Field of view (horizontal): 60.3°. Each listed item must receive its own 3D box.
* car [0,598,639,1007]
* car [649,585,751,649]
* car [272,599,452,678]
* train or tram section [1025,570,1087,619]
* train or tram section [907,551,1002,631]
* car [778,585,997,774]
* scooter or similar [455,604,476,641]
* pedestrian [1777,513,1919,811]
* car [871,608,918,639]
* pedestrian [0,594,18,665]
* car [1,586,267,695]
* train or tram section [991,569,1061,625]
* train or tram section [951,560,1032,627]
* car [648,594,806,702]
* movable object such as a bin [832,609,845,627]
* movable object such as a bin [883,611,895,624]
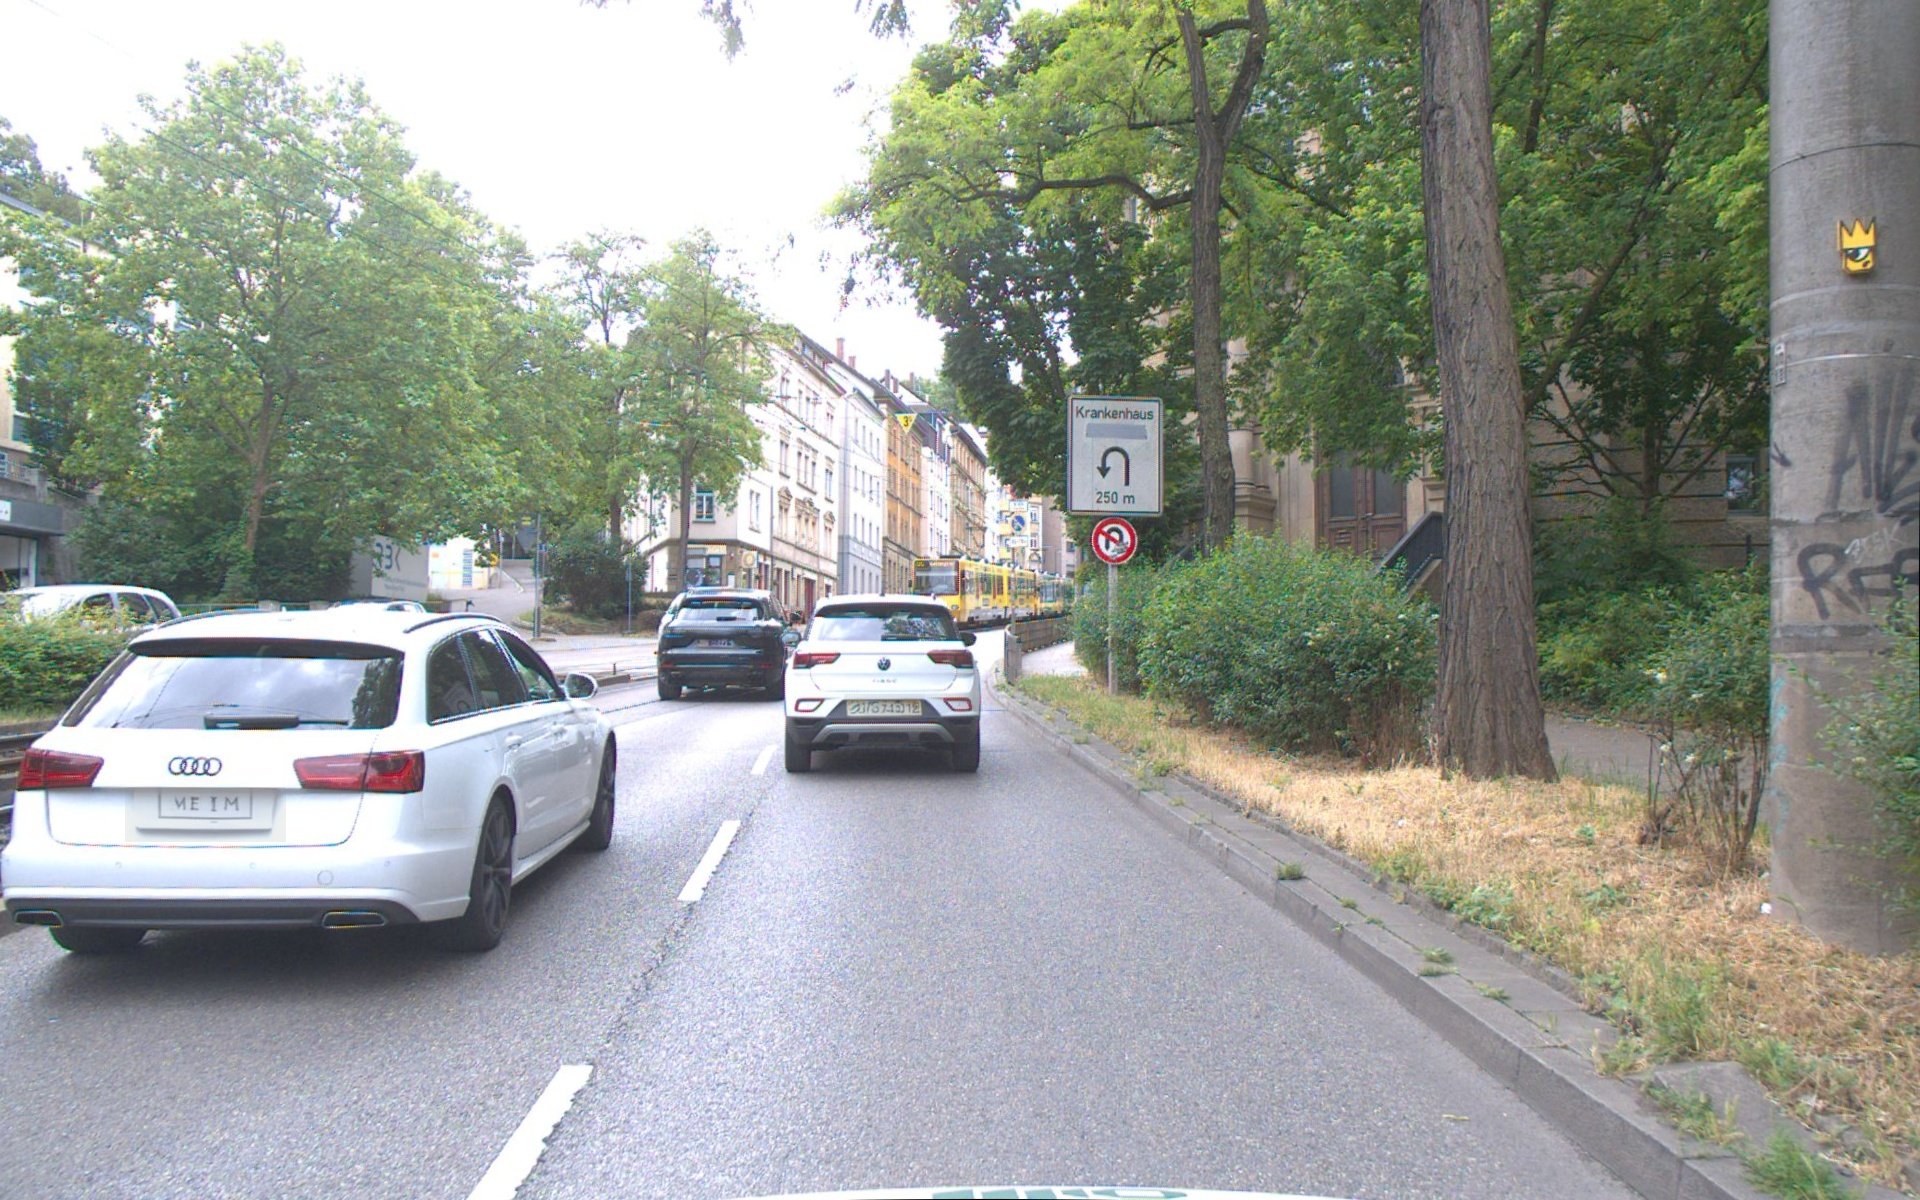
[{"bbox_3d":[-2.900,0.744,8.350,1.841,1.480,4.615,0,0,-3],"label":"car"},{"bbox_3d":[-8.332,0.517,53.493,1.906,1.980,5.006,0,0,8],"label":"car"},{"bbox_3d":[-11.639,0.709,32.496,1.729,1.432,4.085,-1,0,6],"label":"car"},{"bbox_3d":[8.309,-0.400,140.923,2.815,3.791,18.772,1,0,11],"label":"train or tram section"},{"bbox_3d":[-0.100,-0.421,87.375,2.821,3.791,14.867,1,0,8],"label":"train or tram section"},{"bbox_3d":[-0.765,0.669,15.913,1.842,1.582,3.996,0,0,-5],"label":"car"},{"bbox_3d":[-16.841,0.759,56.297,0.480,1.240,1.637,2,-1,-11],"label":"scooter or similar"},{"bbox_3d":[5.528,0.360,10.017,0.755,1.732,0.785,0,0,0],"label":"pedestrian"},{"bbox_3d":[-3.477,1.245,88.716,1.951,1.579,4.003,-1,0,6],"label":"car"},{"bbox_3d":[-26.555,0.805,45.481,0.794,1.945,0.794,-1,0,9],"label":"pedestrian"},{"bbox_3d":[-12.035,0.556,24.380,1.623,1.468,3.743,-1,0,9],"label":"car"},{"bbox_3d":[5.108,-0.161,122.888,2.815,3.791,18.772,1,0,10],"label":"train or tram section"},{"bbox_3d":[2.220,-0.315,104.008,2.815,3.791,18.717,1,0,8],"label":"train or tram section"},{"bbox_3d":[-3.642,0.713,26.598,1.996,1.599,4.357,0,0,-1],"label":"car"},{"bbox_3d":[-7.417,1.123,101.191,0.672,1.092,0.677,0,-1,8],"label":"movable object such as a bin"},{"bbox_3d":[-5.106,1.266,119.091,0.762,0.964,0.654,0,-1,8],"label":"movable object such as a bin"}]
